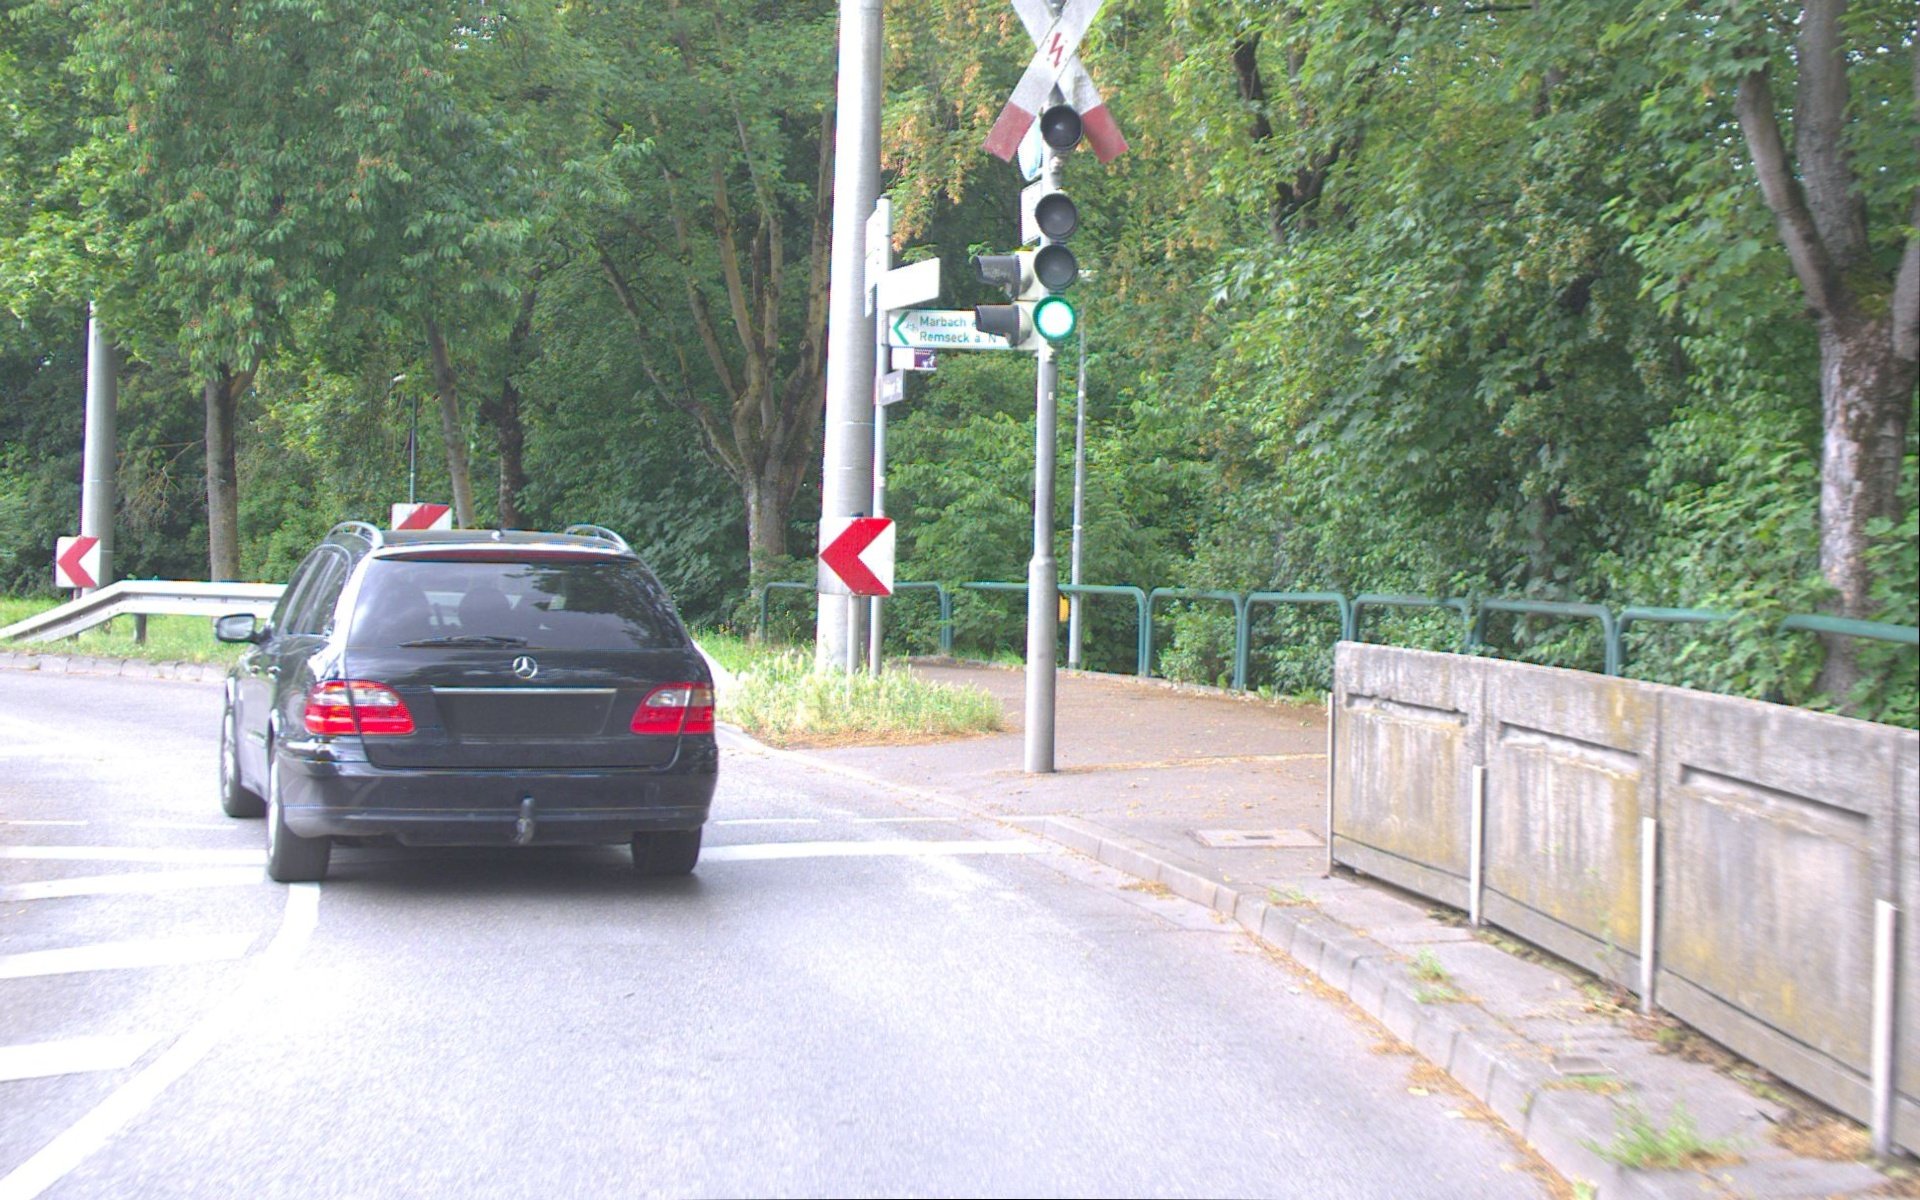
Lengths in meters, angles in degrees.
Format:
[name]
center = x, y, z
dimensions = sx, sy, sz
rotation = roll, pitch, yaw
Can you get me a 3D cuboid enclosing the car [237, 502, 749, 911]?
[car]
center = -2.217, 0.358, 15.370
dimensions = 1.781, 1.520, 4.002
rotation = 0, 2, -15
